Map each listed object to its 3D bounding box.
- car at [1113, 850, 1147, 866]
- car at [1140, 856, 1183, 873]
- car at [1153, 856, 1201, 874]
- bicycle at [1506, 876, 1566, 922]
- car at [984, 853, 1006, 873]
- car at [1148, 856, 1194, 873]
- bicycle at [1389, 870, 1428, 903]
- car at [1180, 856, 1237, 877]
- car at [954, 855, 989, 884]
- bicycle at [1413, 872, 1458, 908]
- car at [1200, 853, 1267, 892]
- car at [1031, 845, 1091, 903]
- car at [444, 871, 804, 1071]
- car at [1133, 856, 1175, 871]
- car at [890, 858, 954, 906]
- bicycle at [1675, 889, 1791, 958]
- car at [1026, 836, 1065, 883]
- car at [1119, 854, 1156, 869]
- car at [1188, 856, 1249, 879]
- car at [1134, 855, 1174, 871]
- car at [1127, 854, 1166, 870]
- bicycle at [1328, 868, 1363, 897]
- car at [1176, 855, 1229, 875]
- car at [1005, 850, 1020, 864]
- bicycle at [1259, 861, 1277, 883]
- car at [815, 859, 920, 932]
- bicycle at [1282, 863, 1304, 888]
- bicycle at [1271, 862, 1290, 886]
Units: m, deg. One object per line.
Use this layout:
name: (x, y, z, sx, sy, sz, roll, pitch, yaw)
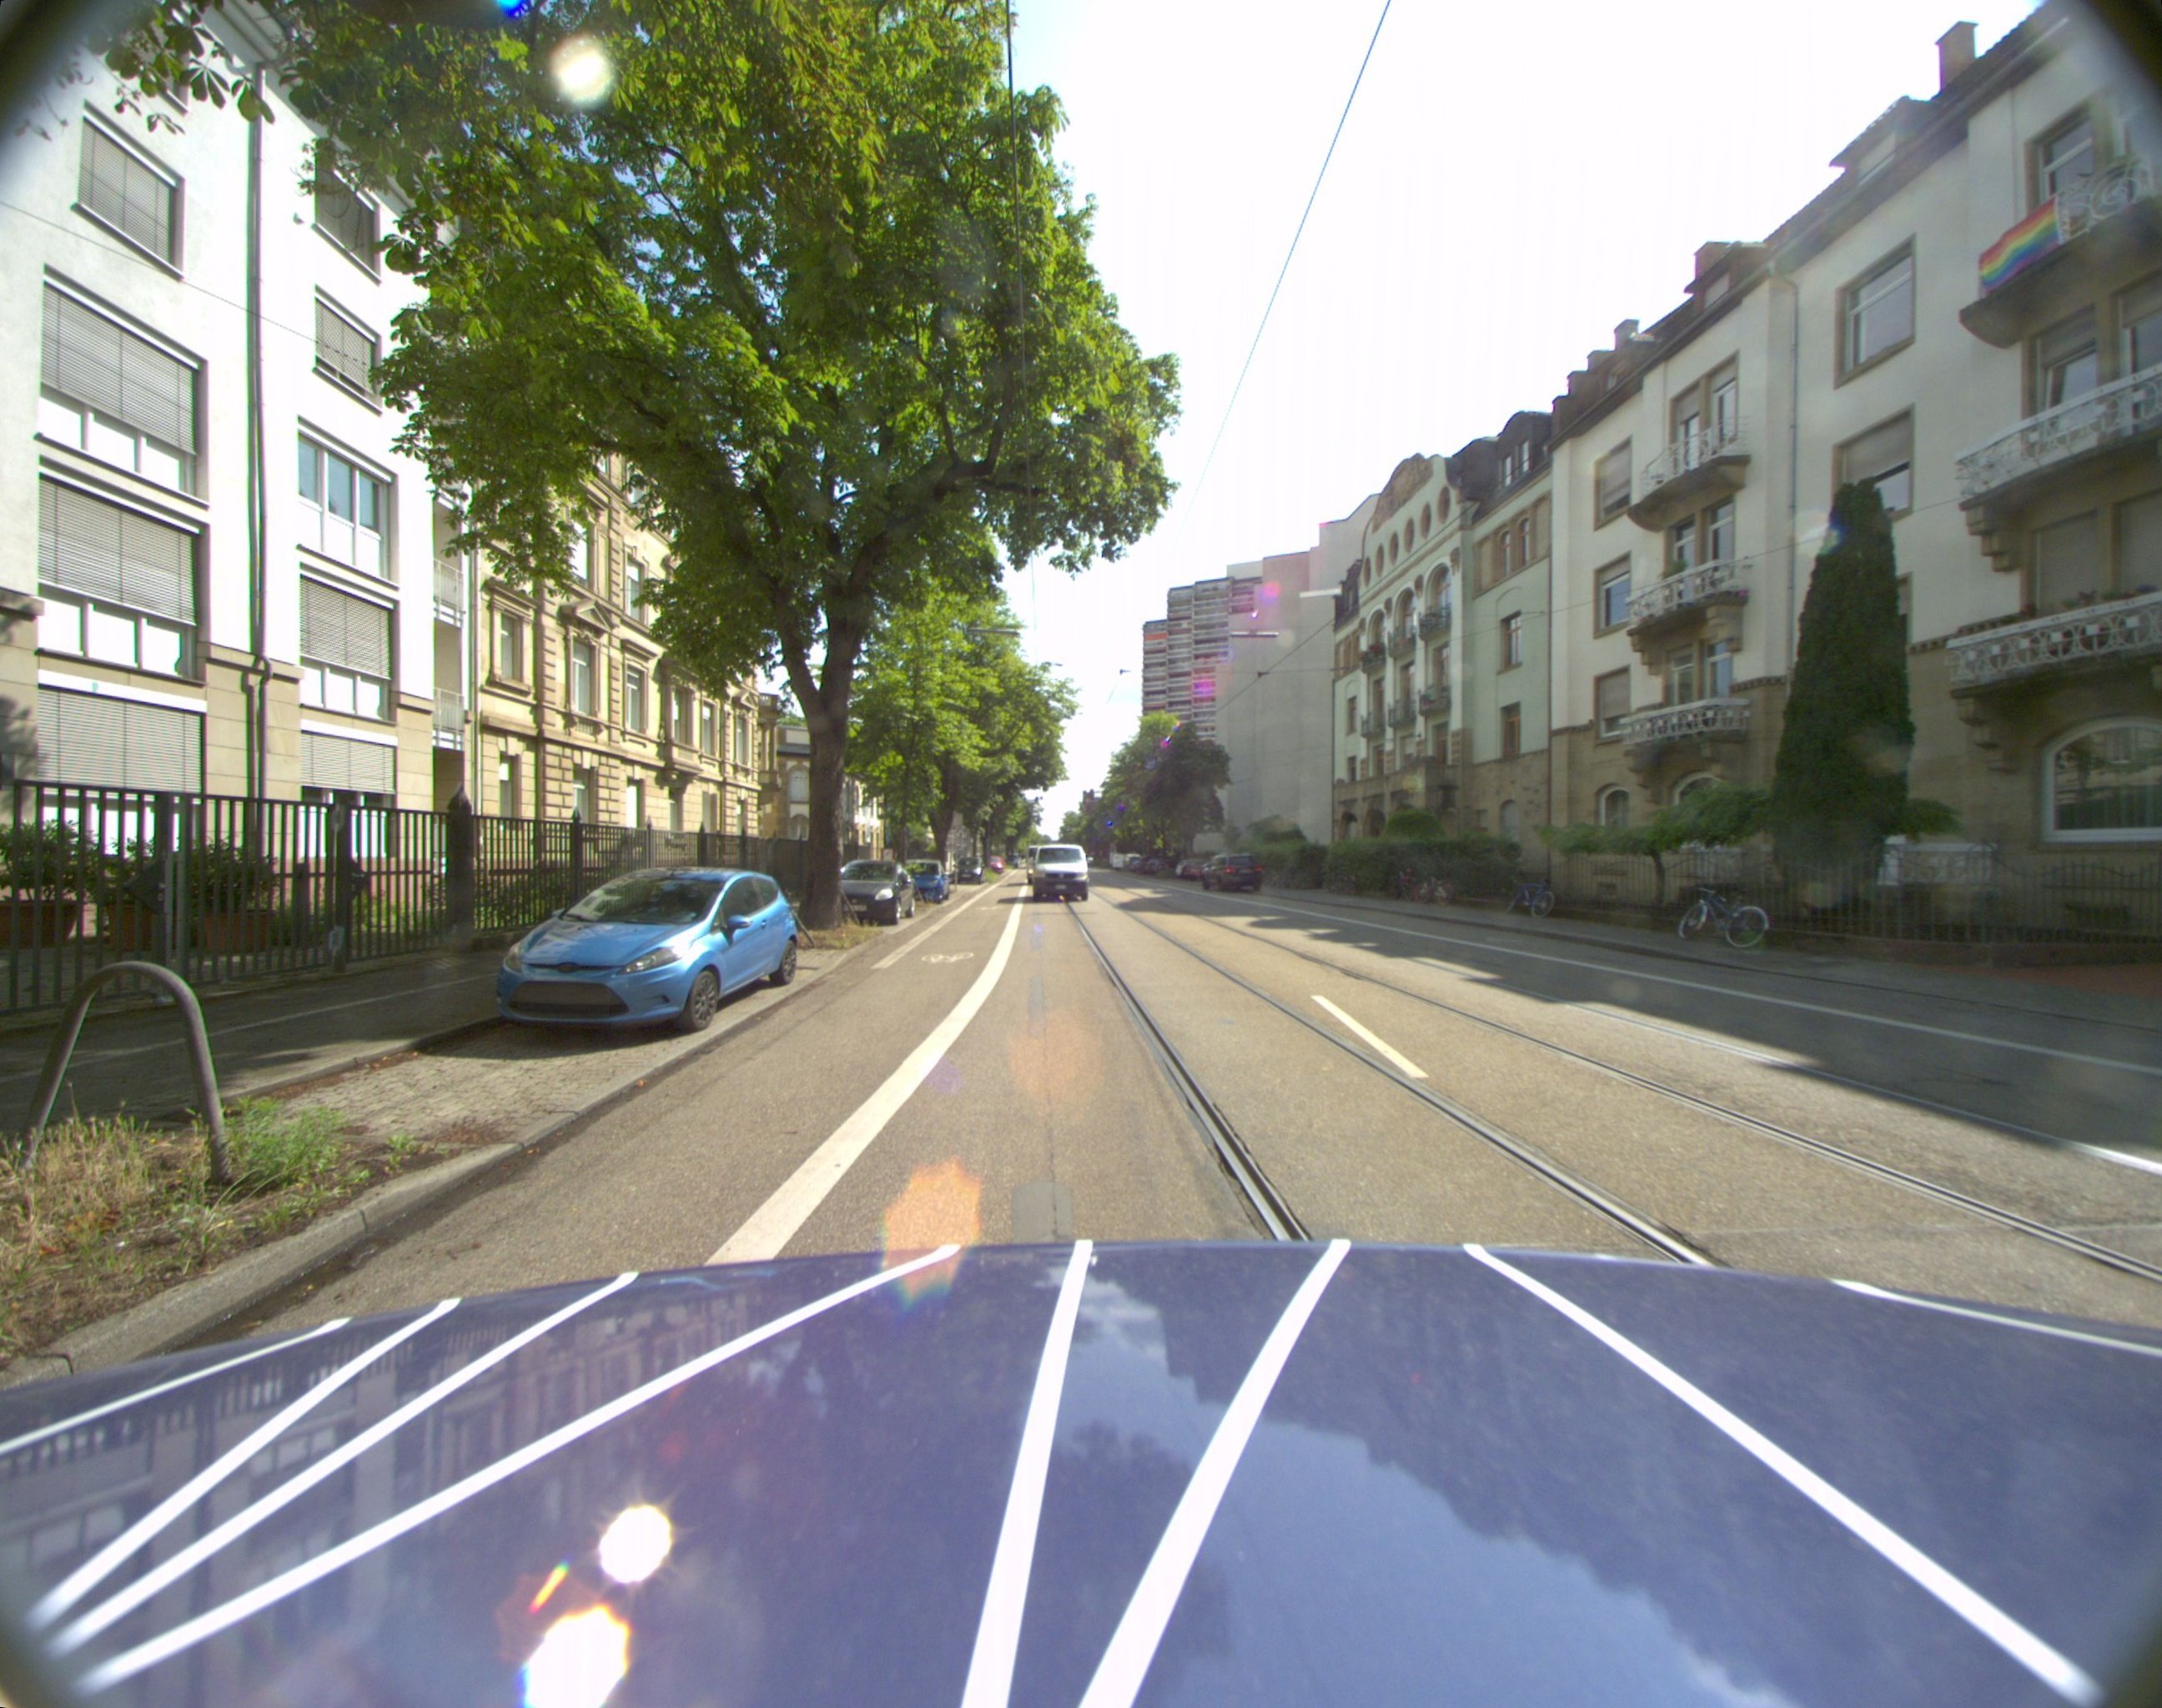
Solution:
car: (5.925, 0.444, 91.066, 1.994, 1.740, 4.008, -1, 1, 41)
car: (7.531, 0.945, 70.972, 3.994, 1.499, 2.001, 0, 0, 7)
car: (8.162, 0.905, 64.701, 3.994, 1.499, 2.001, 0, 0, 7)
bicycle: (10.868, 1.060, 18.207, 0.467, 0.990, 1.787, 0, 0, 4)
car: (-7.646, 0.782, 67.828, 1.744, 1.564, 3.928, 3, 0, -4)
car: (8.047, 0.913, 67.856, 3.994, 1.499, 2.001, 0, 0, 7)
bicycle: (10.580, 1.033, 24.588, 0.468, 0.990, 1.786, 0, 0, -1)
car: (9.222, 0.904, 55.111, 3.994, 1.499, 2.001, 0, 0, 7)
car: (-6.460, 0.863, 45.036, 1.744, 1.564, 3.659, 3, 0, -4)
bicycle: (10.553, 1.042, 22.690, 0.468, 0.990, 1.786, 0, 0, -1)
car: (7.076, 0.823, 35.627, 1.922, 1.685, 4.399, 0, 0, -5)
car: (-0.761, 0.651, 27.351, 1.974, 1.901, 4.816, 0, 0, -2)
car: (-4.346, 0.992, 7.959, 1.647, 1.467, 3.660, 3, 0, -3)
car: (7.108, 0.913, 74.179, 3.994, 1.499, 2.001, 0, 0, 7)
car: (-5.454, 0.920, 26.465, 1.679, 1.467, 3.659, 3, 0, -4)
bicycle: (11.044, 1.142, 12.964, 0.467, 0.990, 1.979, 0, 0, 6)
car: (-2.062, 0.311, 44.069, 2.147, 2.568, 4.816, 0, 0, -2)
car: (6.376, 0.793, 85.234, 3.994, 1.672, 2.001, 0, 0, 7)
car: (9.276, 0.900, 51.603, 3.994, 1.499, 2.001, 0, 0, 7)
car: (7.418, 0.908, 77.341, 3.994, 1.499, 2.001, 0, 0, 7)
car: (6.982, 0.820, 80.812, 3.994, 1.672, 2.001, 0, 0, 7)
bicycle: (9.969, 1.059, 28.672, 0.605, 0.990, 1.980, 0, 0, -1)
car: (9.338, 0.817, 58.659, 3.994, 1.499, 2.001, 0, 0, 7)
car: (-8.332, 0.377, 92.654, 1.744, 1.564, 3.928, 3, 0, -4)
bicycle: (9.773, 0.931, 39.820, 0.468, 1.128, 1.786, 0, 0, -1)
car: (-4.999, 0.914, 18.254, 1.679, 1.467, 3.659, 3, 0, -4)
bicycle: (9.977, 1.002, 35.782, 0.468, 1.128, 1.786, 0, 0, -1)
bicycle: (9.884, 0.979, 37.724, 0.468, 1.128, 1.786, 0, 0, -1)
